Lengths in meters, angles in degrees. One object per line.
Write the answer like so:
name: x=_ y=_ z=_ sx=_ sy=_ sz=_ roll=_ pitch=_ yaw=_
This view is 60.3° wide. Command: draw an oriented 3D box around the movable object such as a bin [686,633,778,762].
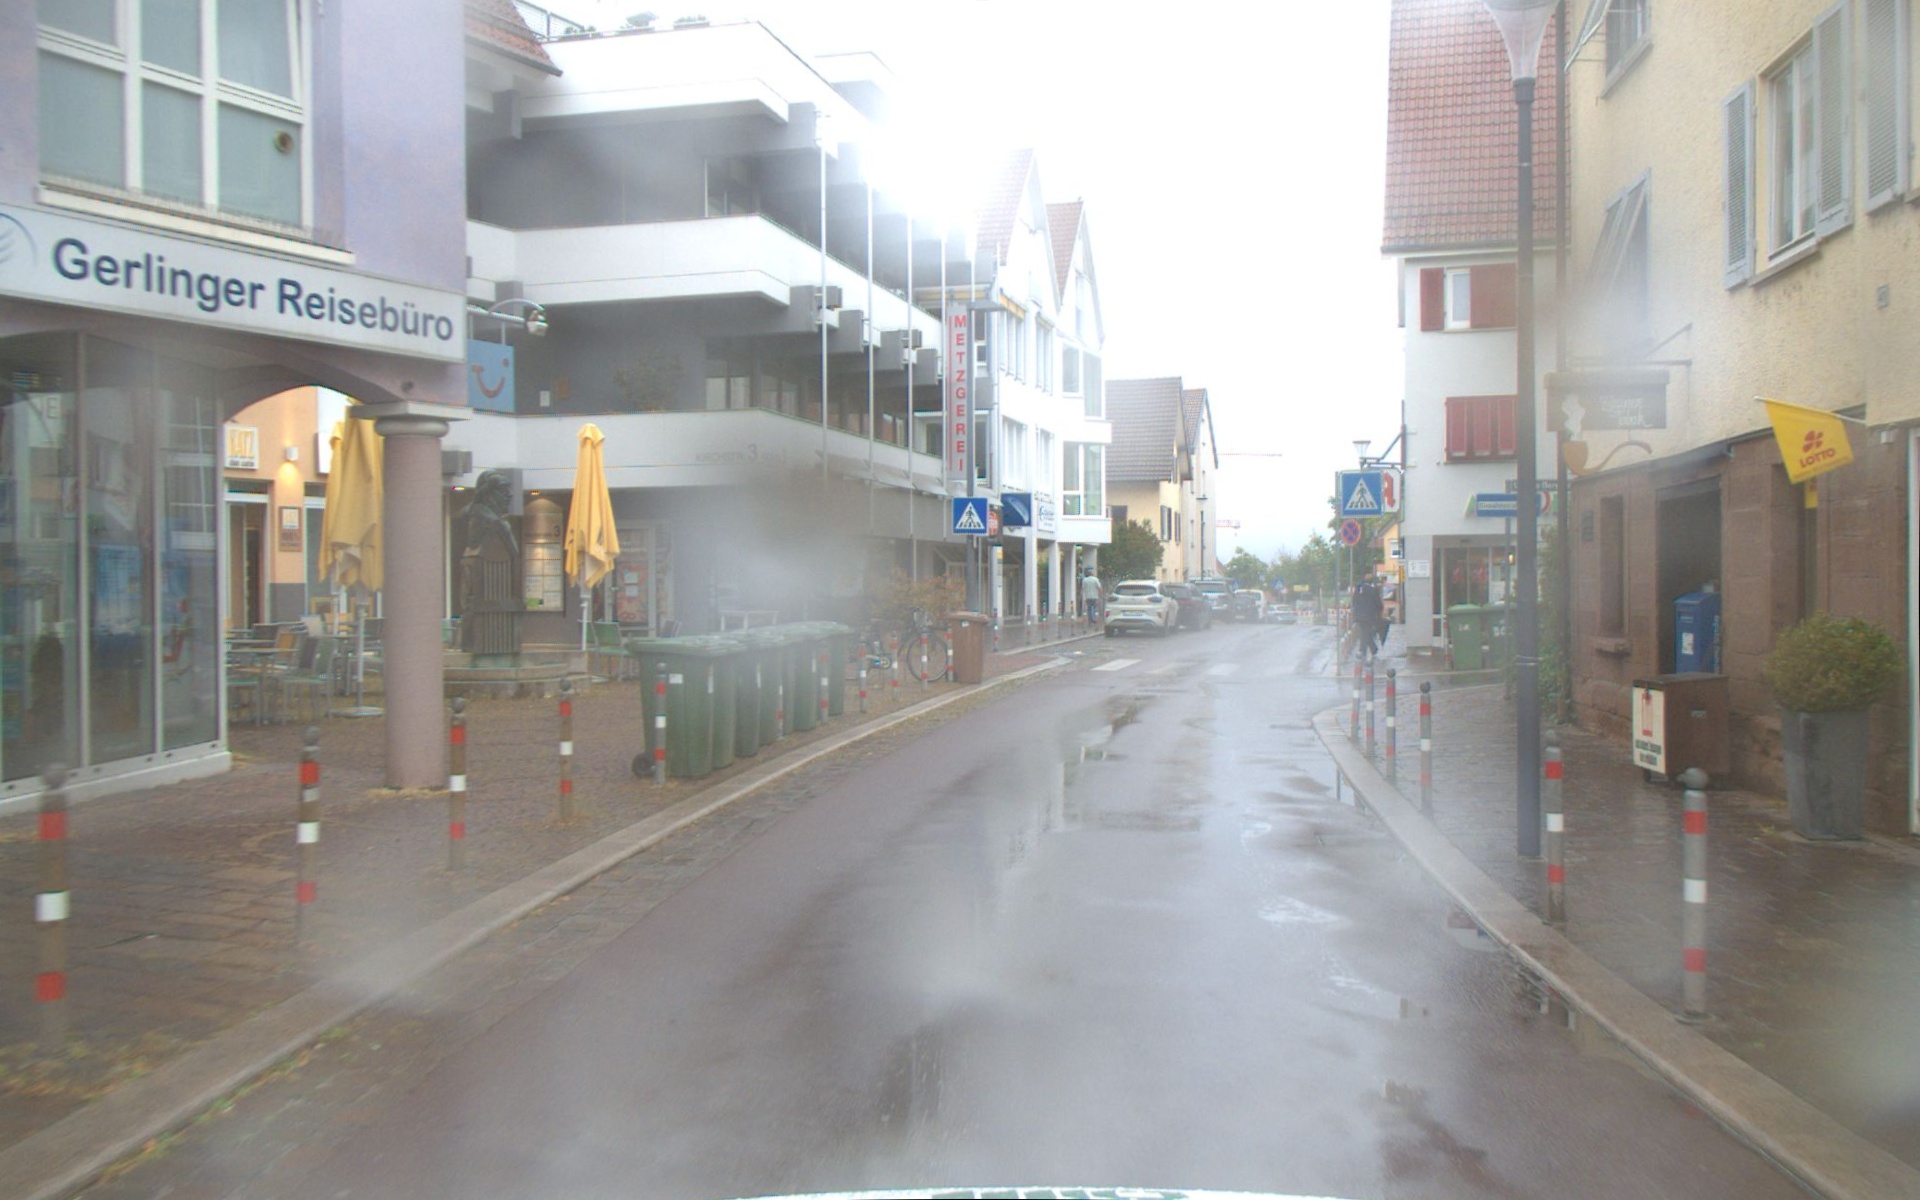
movable object such as a bin: x=-2.020 y=0.856 z=14.706 sx=0.672 sy=1.100 sz=0.670 roll=0 pitch=0 yaw=6

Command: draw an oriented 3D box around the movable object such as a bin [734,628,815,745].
movable object such as a bin: x=-1.847 y=0.854 z=16.548 sx=0.672 sy=1.125 sz=0.670 roll=0 pitch=0 yaw=6

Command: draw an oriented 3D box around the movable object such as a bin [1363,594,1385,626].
movable object such as a bin: x=15.430 y=0.375 z=61.654 sx=0.787 sy=1.151 sz=0.863 roll=0 pitch=-1 yaw=13

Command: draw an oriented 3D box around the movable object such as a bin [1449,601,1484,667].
movable object such as a bin: x=8.449 y=0.571 z=27.607 sx=0.490 sy=1.075 sz=0.549 roll=-2 pitch=-2 yaw=14

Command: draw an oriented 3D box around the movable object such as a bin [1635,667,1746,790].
movable object such as a bin: x=5.598 y=0.971 z=12.716 sx=0.534 sy=0.851 sz=0.911 roll=-3 pitch=0 yaw=9

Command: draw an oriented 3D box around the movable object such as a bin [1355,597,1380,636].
movable object such as a bin: x=11.442 y=0.460 z=46.443 sx=0.662 sy=1.105 sz=0.718 roll=0 pitch=-1 yaw=16

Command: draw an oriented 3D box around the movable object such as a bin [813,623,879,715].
movable object such as a bin: x=-1.355 y=0.813 z=19.690 sx=0.672 sy=1.057 sz=0.670 roll=0 pitch=0 yaw=6

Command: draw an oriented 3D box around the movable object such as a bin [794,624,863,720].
movable object such as a bin: x=-1.503 y=0.813 z=18.974 sx=0.672 sy=1.060 sz=0.670 roll=0 pitch=0 yaw=6

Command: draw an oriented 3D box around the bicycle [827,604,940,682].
bicycle: x=-1.172 y=0.660 z=25.360 sx=1.711 sy=1.185 sz=0.444 roll=0 pitch=-2 yaw=-5

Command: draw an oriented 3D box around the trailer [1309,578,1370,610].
trailer: x=36.294 y=-0.554 z=158.267 sx=5.657 sy=2.999 sz=2.001 roll=0 pitch=-1 yaw=10

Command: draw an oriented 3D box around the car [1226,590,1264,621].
car: x=13.486 y=0.275 z=78.112 sx=1.645 sy=1.413 sz=3.828 roll=0 pitch=-1 yaw=11

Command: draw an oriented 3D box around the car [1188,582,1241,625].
car: x=10.075 y=0.182 z=65.246 sx=1.742 sy=1.596 sz=4.411 roll=0 pitch=-1 yaw=13

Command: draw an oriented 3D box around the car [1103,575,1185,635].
car: x=5.288 y=0.108 z=47.136 sx=1.753 sy=1.578 sz=4.004 roll=0 pitch=2 yaw=14

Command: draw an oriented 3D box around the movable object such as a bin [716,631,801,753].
movable object such as a bin: x=-1.918 y=0.864 z=15.837 sx=0.672 sy=1.125 sz=0.670 roll=0 pitch=0 yaw=6

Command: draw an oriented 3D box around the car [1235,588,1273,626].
car: x=14.916 y=0.373 z=83.737 sx=1.686 sy=1.857 sz=4.431 roll=0 pitch=-1 yaw=12

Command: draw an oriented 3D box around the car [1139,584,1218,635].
car: x=7.021 y=0.265 z=52.778 sx=1.792 sy=1.525 sz=4.766 roll=-1 pitch=0 yaw=16

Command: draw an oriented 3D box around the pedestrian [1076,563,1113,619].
pedestrian: x=4.470 y=-0.313 z=54.809 sx=1.013 sy=1.838 sz=1.117 roll=0 pitch=0 yaw=15

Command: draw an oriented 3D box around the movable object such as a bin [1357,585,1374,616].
movable object such as a bin: x=17.405 y=0.041 z=70.976 sx=0.625 sy=1.313 sz=0.632 roll=0 pitch=-2 yaw=20

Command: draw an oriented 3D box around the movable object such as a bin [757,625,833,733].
movable object such as a bin: x=-1.726 y=0.819 z=17.394 sx=0.672 sy=1.092 sz=0.670 roll=0 pitch=0 yaw=6

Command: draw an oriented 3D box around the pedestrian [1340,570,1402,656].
pedestrian: x=8.563 y=0.266 z=34.504 sx=1.152 sy=1.727 sz=1.178 roll=-2 pitch=0 yaw=12

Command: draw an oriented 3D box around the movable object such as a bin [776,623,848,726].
movable object such as a bin: x=-1.618 y=0.804 z=18.152 sx=0.672 sy=1.095 sz=0.670 roll=0 pitch=0 yaw=6

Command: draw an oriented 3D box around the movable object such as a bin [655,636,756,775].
movable object such as a bin: x=-2.115 y=0.863 z=13.821 sx=0.672 sy=1.106 sz=0.713 roll=0 pitch=0 yaw=6

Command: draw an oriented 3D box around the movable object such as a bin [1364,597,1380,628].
movable object such as a bin: x=17.442 y=0.537 z=70.016 sx=0.625 sy=1.313 sz=0.632 roll=0 pitch=-2 yaw=20

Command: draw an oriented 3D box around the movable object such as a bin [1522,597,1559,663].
movable object such as a bin: x=9.577 y=0.499 z=27.297 sx=0.490 sy=1.075 sz=0.549 roll=-2 pitch=-2 yaw=14

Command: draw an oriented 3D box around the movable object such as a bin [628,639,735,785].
movable object such as a bin: x=-2.192 y=0.869 z=13.075 sx=0.672 sy=1.097 sz=0.677 roll=0 pitch=0 yaw=6

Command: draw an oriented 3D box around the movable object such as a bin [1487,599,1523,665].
movable object such as a bin: x=9.039 y=0.532 z=27.449 sx=0.490 sy=1.075 sz=0.549 roll=-2 pitch=-2 yaw=14

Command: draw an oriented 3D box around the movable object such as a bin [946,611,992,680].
movable object such as a bin: x=0.135 y=0.697 z=25.468 sx=0.672 sy=1.038 sz=0.631 roll=0 pitch=0 yaw=-2
